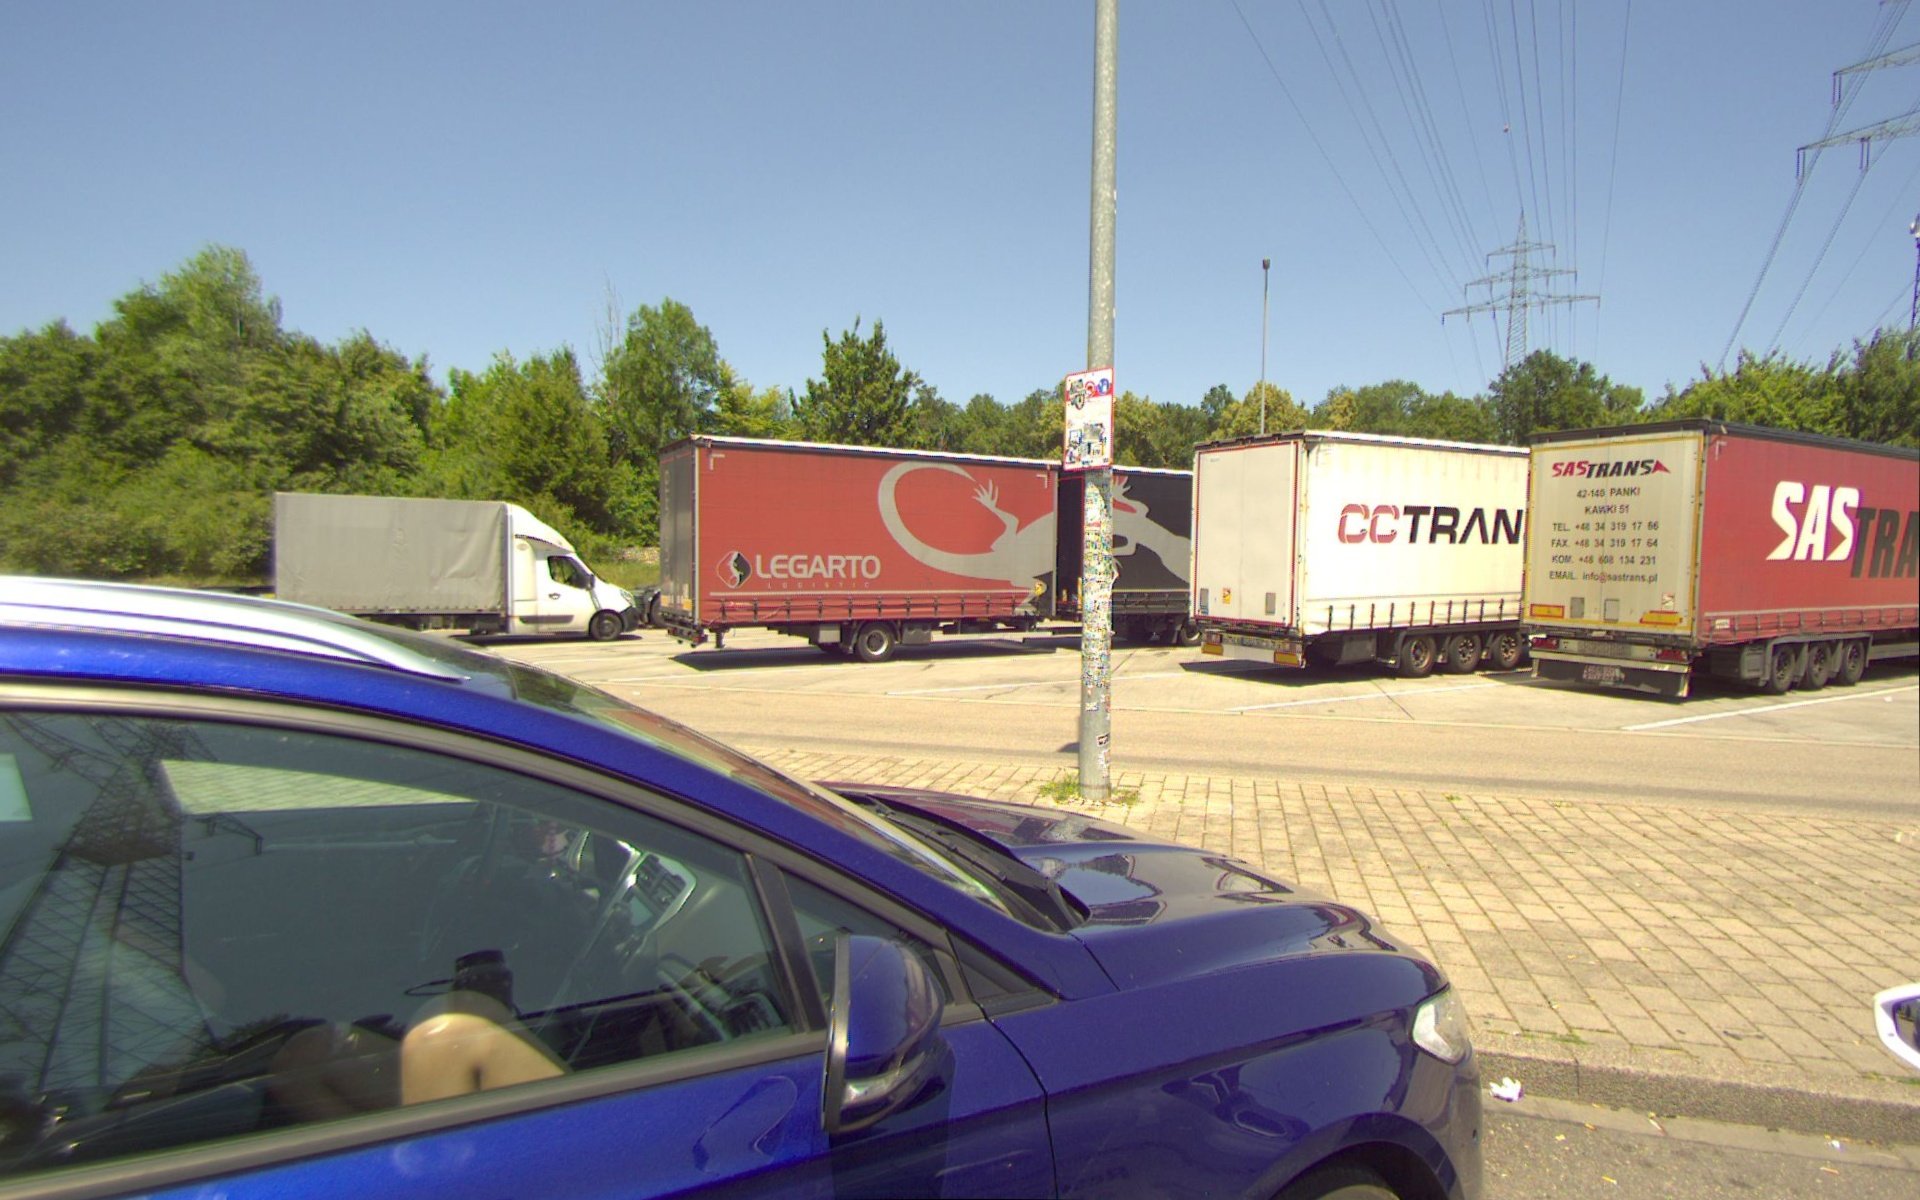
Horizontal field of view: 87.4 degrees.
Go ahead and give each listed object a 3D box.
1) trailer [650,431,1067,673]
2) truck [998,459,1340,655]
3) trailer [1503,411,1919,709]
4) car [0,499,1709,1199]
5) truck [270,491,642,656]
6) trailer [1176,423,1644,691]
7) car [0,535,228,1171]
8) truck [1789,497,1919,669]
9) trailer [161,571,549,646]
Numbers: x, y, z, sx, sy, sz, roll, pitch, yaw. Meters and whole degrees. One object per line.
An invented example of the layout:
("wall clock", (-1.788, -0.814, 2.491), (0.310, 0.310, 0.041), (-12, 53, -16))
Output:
("trailer", (-1.883, -0.901, 20.325), (8.007, 4.127, 2.693), (-1, 3, -30))
("truck", (5.269, -0.997, 24.534), (8.586, 4.127, 2.693), (-1, 3, -30))
("trailer", (15.464, -0.676, 18.607), (13.599, 4.127, 2.807), (-1, 3, -31))
("car", (-0.972, 0.655, 1.446), (4.522, 1.491, 1.743), (0, 2, -32))
("truck", (-11.241, -0.619, 22.987), (7.187, 3.289, 2.694), (-1, 3, -29))
("trailer", (8.970, -0.769, 19.340), (10.264, 4.158, 2.693), (-1, 3, -30))
("car", (-4.414, 0.583, 2.083), (4.522, 1.526, 1.743), (0, 2, -32))
("truck", (21.256, -0.404, 22.044), (5.903, 3.409, 2.798), (-1, 3, -30))
("trailer", (-14.753, 0.109, 25.226), (8.007, 1.648, 2.199), (-1, 3, -30))
